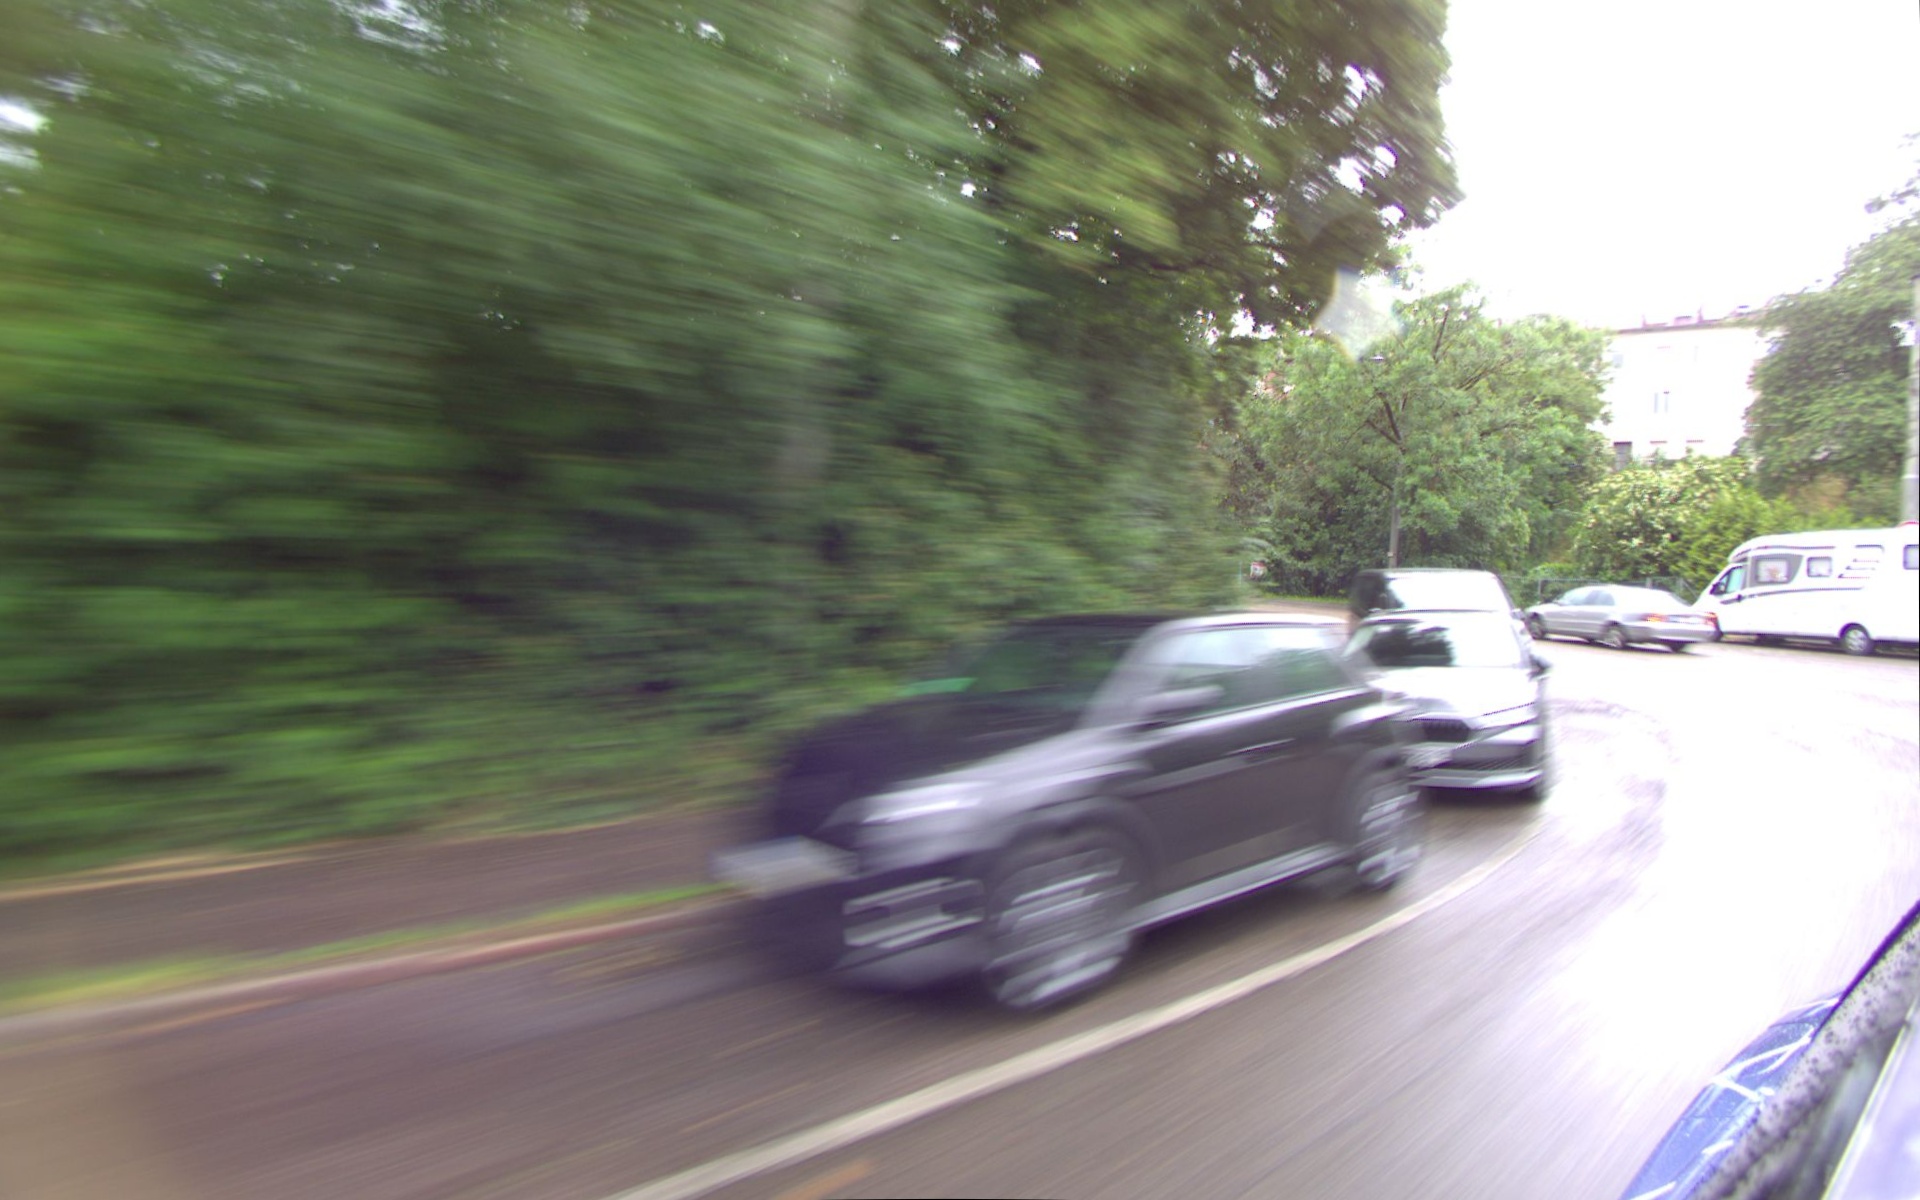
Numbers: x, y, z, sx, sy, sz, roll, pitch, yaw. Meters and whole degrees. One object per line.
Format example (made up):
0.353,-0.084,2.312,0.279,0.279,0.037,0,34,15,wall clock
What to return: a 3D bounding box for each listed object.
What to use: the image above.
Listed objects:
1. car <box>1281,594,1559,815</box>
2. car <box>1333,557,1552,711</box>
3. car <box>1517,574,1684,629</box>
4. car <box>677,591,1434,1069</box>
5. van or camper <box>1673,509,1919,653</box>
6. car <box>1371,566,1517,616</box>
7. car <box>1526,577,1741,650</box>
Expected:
4.587,0.715,9.617,1.892,1.507,4.821,0,1,31,car
6.953,0.361,15.191,1.970,1.910,5.016,0,1,14,car
19.715,-0.004,31.397,1.874,1.429,4.142,3,2,-14,car
0.676,0.741,5.019,3.678,1.507,1.630,1,-1,-40,car
21.026,-0.482,23.982,2.410,3.003,7.535,1,2,-4,van or camper
17.380,-0.358,36.563,1.959,1.481,4.380,1,4,-28,car
15.547,0.239,23.709,1.754,1.402,4.346,1,2,-6,car
